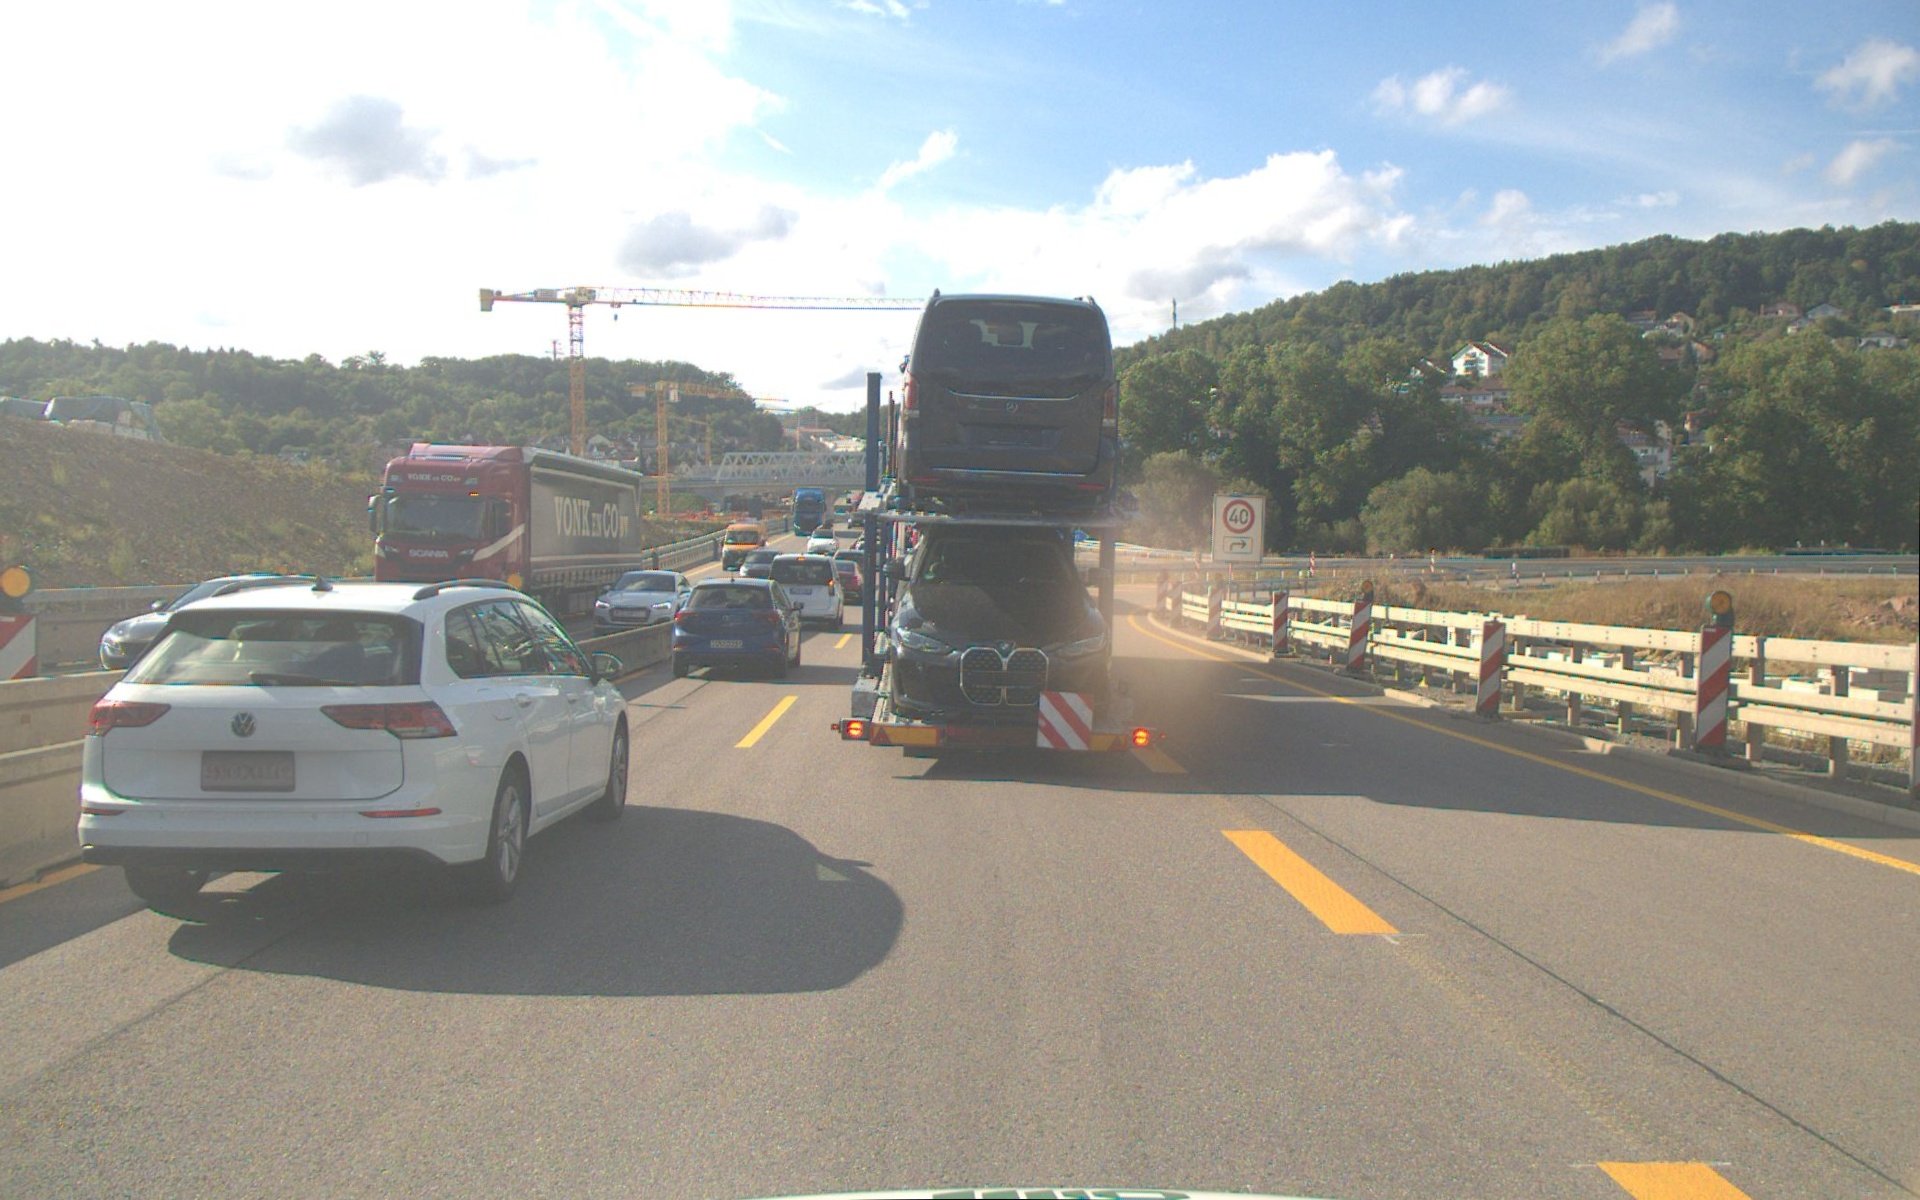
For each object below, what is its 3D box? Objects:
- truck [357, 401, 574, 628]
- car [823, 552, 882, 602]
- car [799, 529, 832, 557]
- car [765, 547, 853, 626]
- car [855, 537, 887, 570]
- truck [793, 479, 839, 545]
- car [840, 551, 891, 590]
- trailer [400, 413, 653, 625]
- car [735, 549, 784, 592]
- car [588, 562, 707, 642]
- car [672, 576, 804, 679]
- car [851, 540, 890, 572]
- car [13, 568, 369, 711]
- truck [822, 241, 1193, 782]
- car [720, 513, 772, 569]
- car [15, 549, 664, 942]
[{"bbox_3d":[-10.670,-1.726,36.388,2.855,4.464,6.284,2,0,-2],"label":"truck"},{"bbox_3d":[-3.787,-0.786,58.456,1.954,1.584,4.397,1,-1,-4],"label":"car"},{"bbox_3d":[-9.608,-3.793,110.042,1.953,1.713,3.998,1,0,-2],"label":"car"},{"bbox_3d":[-3.727,-0.293,41.421,1.785,1.824,4.000,1,-1,0],"label":"car"},{"bbox_3d":[-6.059,-3.143,113.264,1.953,2.049,3.999,1,-1,-1],"label":"car"},{"bbox_3d":[-12.824,-7.760,148.325,2.764,4.872,13.054,1,-1,1],"label":"truck"},{"bbox_3d":[-4.104,-1.270,72.206,1.953,1.579,4.000,1,0,0],"label":"car"},{"bbox_3d":[-10.724,-1.775,42.948,2.916,4.500,13.814,2,0,-1],"label":"trailer"},{"bbox_3d":[-8.206,-1.207,67.996,1.808,1.677,4.232,1,0,-5],"label":"car"},{"bbox_3d":[-7.025,0.024,37.640,1.806,1.677,4.505,1,0,0],"label":"car"},{"bbox_3d":[-3.345,0.363,25.548,1.687,1.446,3.998,0,1,-3],"label":"car"},{"bbox_3d":[-4.864,-2.392,90.597,1.953,1.695,4.000,1,1,-1],"label":"car"},{"bbox_3d":[-8.908,0.398,19.681,1.783,1.465,4.616,1,0,4],"label":"car"},{"bbox_3d":[0.138,-0.855,22.079,2.698,4.023,18.886,2,1,-1],"label":"truck"},{"bbox_3d":[-11.610,-3.171,90.068,1.953,2.929,6.064,1,1,0],"label":"car"},{"bbox_3d":[-2.828,0.545,8.723,1.734,1.517,4.516,1,1,0],"label":"car"}]
